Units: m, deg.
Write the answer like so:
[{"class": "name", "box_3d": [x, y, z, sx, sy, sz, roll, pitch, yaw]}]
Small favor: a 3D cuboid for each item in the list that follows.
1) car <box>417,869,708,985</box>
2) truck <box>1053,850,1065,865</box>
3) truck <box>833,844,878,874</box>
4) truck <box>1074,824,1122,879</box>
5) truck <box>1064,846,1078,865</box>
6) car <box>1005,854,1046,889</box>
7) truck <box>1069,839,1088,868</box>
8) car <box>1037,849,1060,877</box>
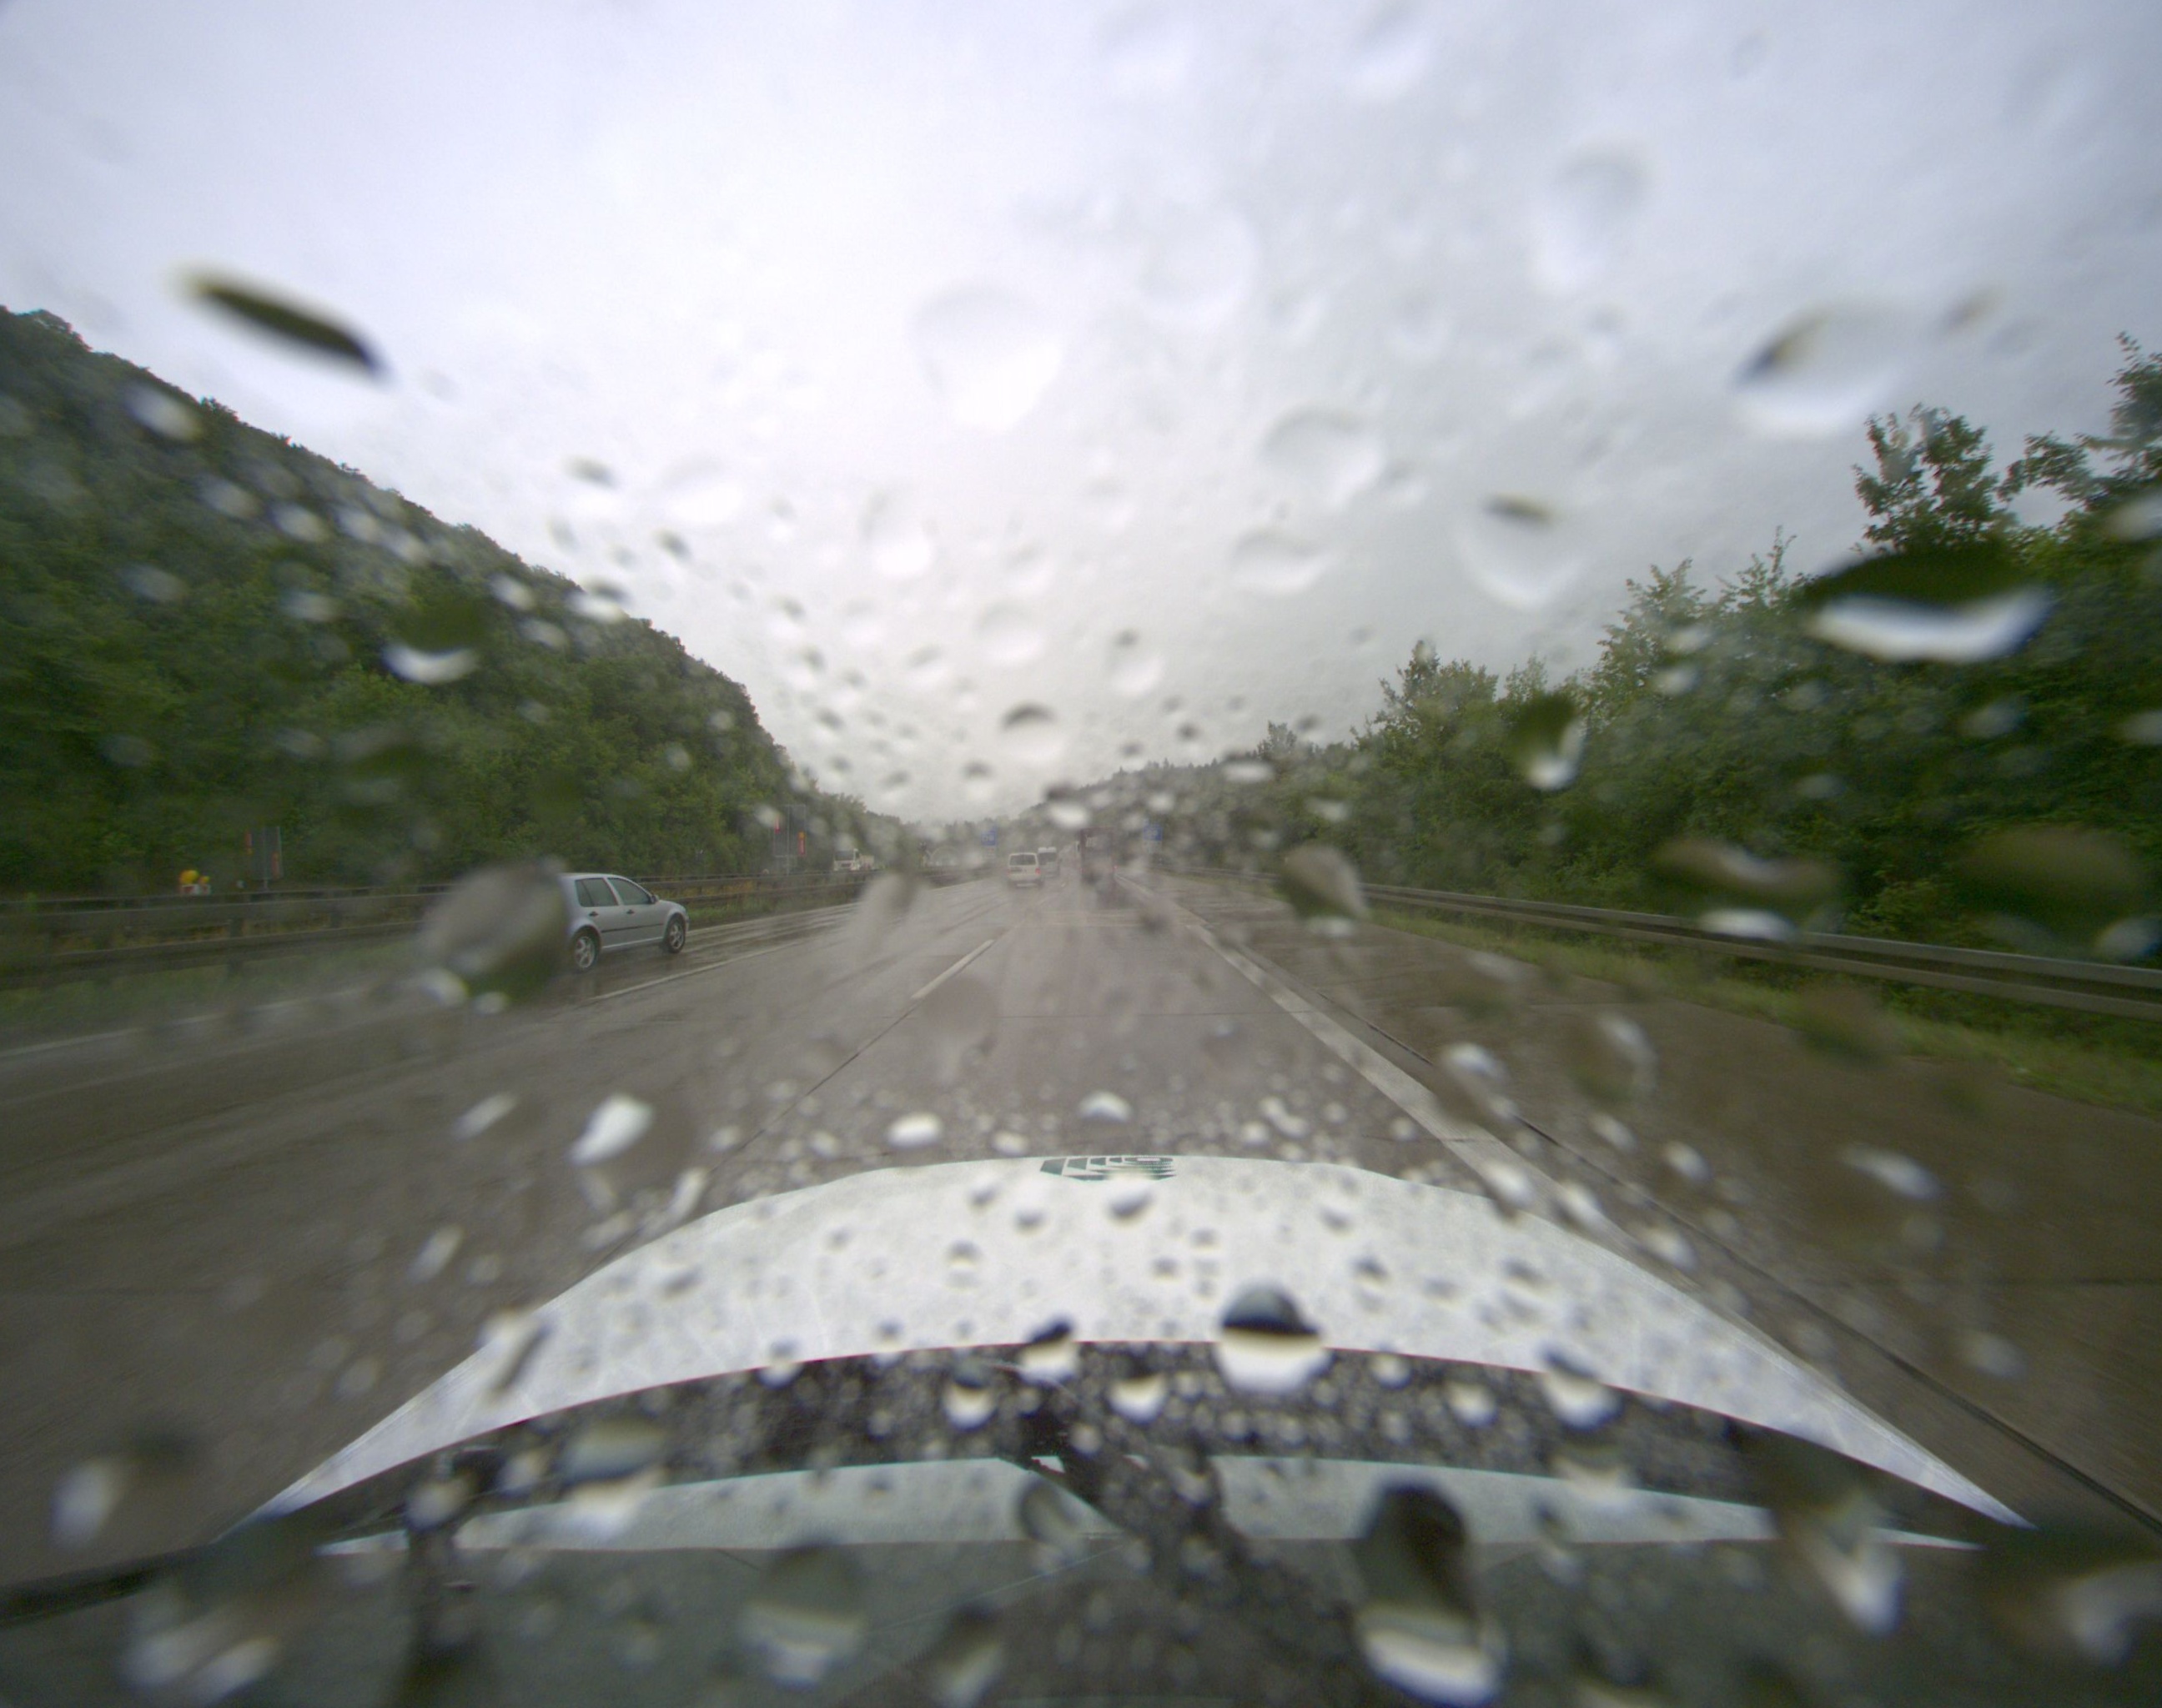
[{"class": "car", "box_3d": [-7.710, 0.988, 12.724, 1.661, 1.434, 4.351, -1, 0, 1]}, {"class": "truck", "box_3d": [-4.711, 0.842, 175.879, 1.991, 3.169, 6.720, -1, 0, -6]}, {"class": "truck", "box_3d": [-23.716, 0.516, 85.908, 2.289, 3.019, 7.924, -1, 0, 1]}, {"class": "truck", "box_3d": [1.322, -0.314, 65.440, 3.373, 3.967, 8.668, -3, 1, 1]}, {"class": "truck", "box_3d": [-1.796, 0.256, 145.980, 1.991, 3.169, 6.720, -1, 0, -6]}, {"class": "car", "box_3d": [-3.117, 0.958, 46.629, 1.892, 1.894, 5.044, -1, 0, 1]}, {"class": "truck", "box_3d": [-0.360, -0.001, 112.008, 1.991, 3.806, 6.720, -1, 0, -6]}, {"class": "car", "box_3d": [-2.864, 0.772, 71.700, 1.896, 2.334, 5.243, -1, 0, -4]}]
